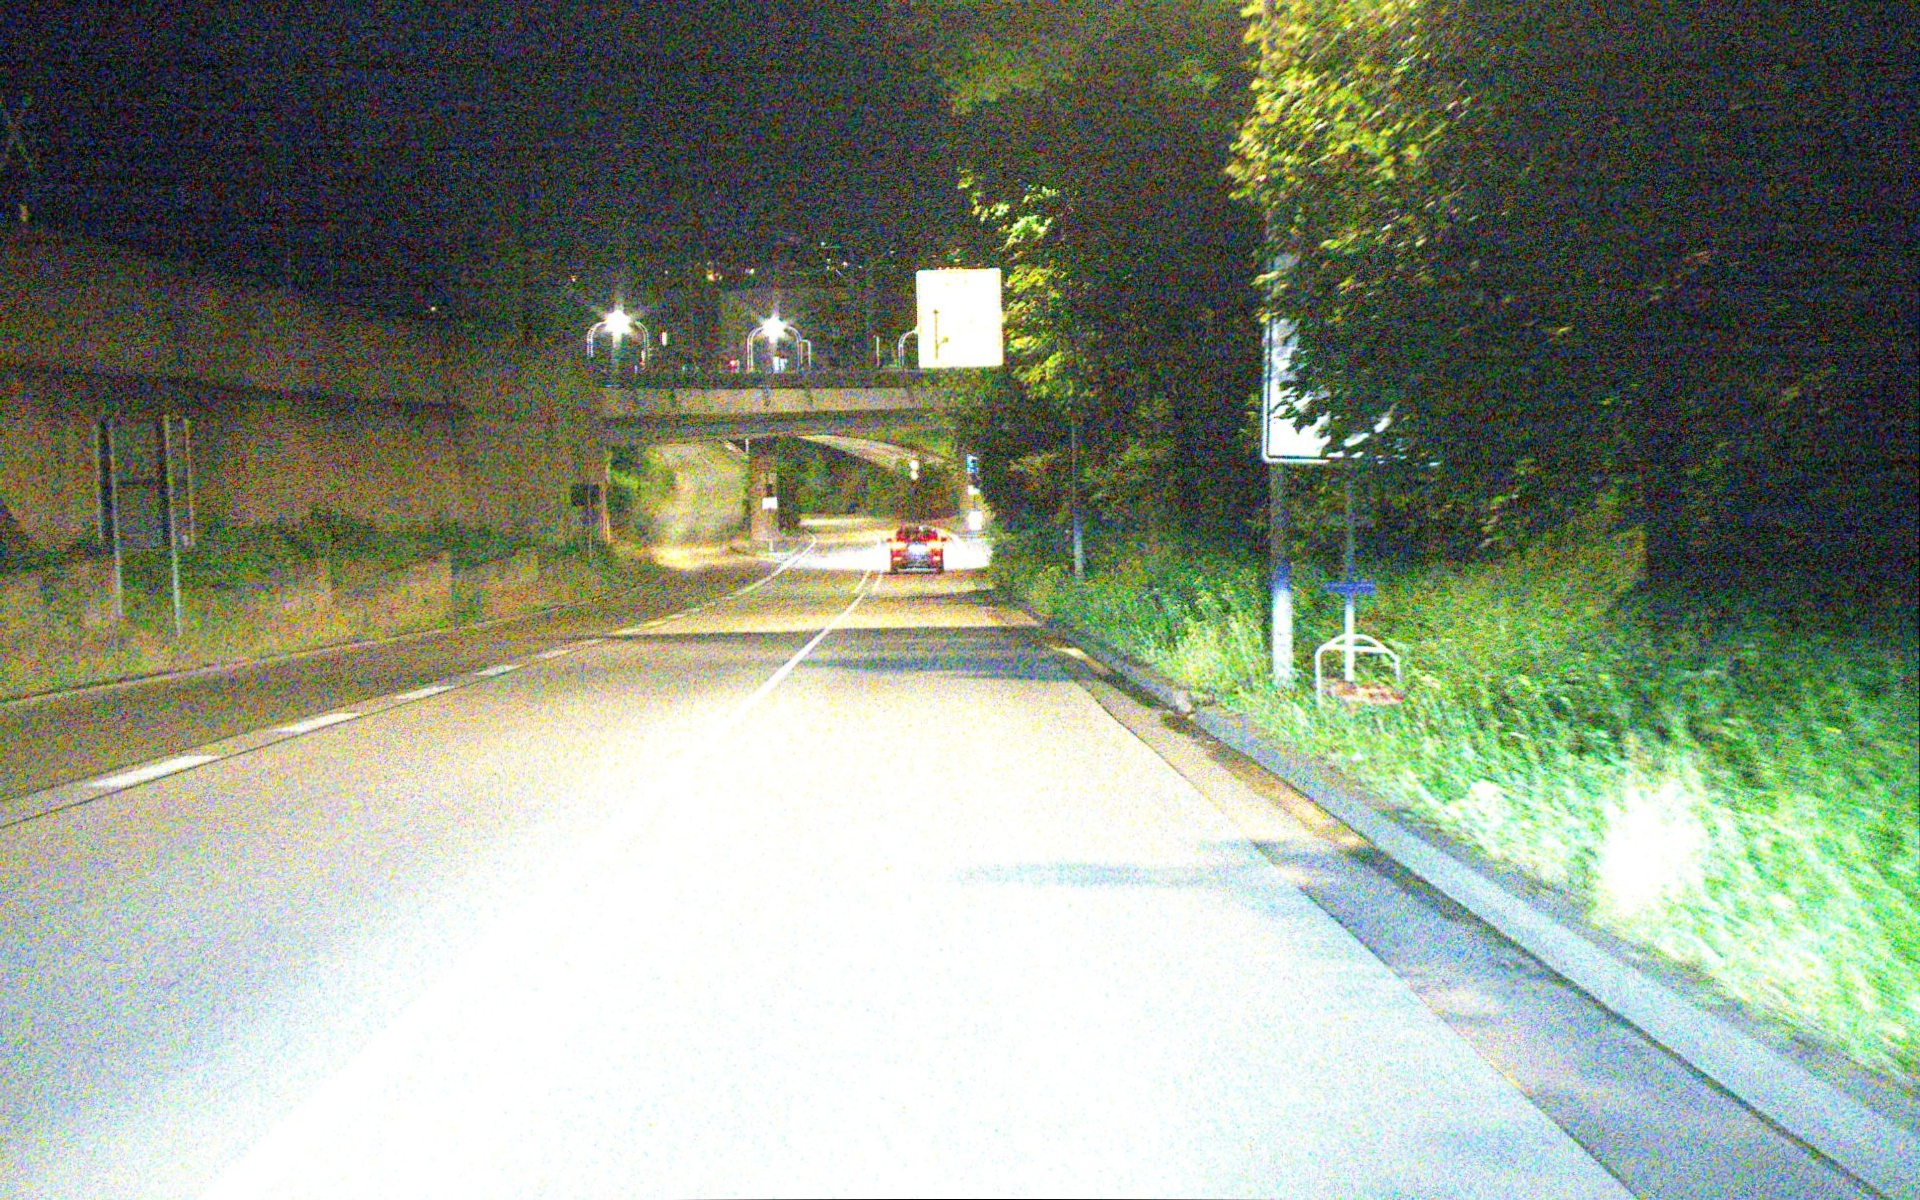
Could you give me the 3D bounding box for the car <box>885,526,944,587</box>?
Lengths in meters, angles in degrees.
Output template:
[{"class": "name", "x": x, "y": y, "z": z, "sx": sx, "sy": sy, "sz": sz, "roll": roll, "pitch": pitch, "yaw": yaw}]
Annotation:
[{"class": "car", "x": -1.536, "y": -1.483, "z": 116.463, "sx": 1.918, "sy": 2.007, "sz": 4.123, "roll": 1, "pitch": 1, "yaw": -1}]
